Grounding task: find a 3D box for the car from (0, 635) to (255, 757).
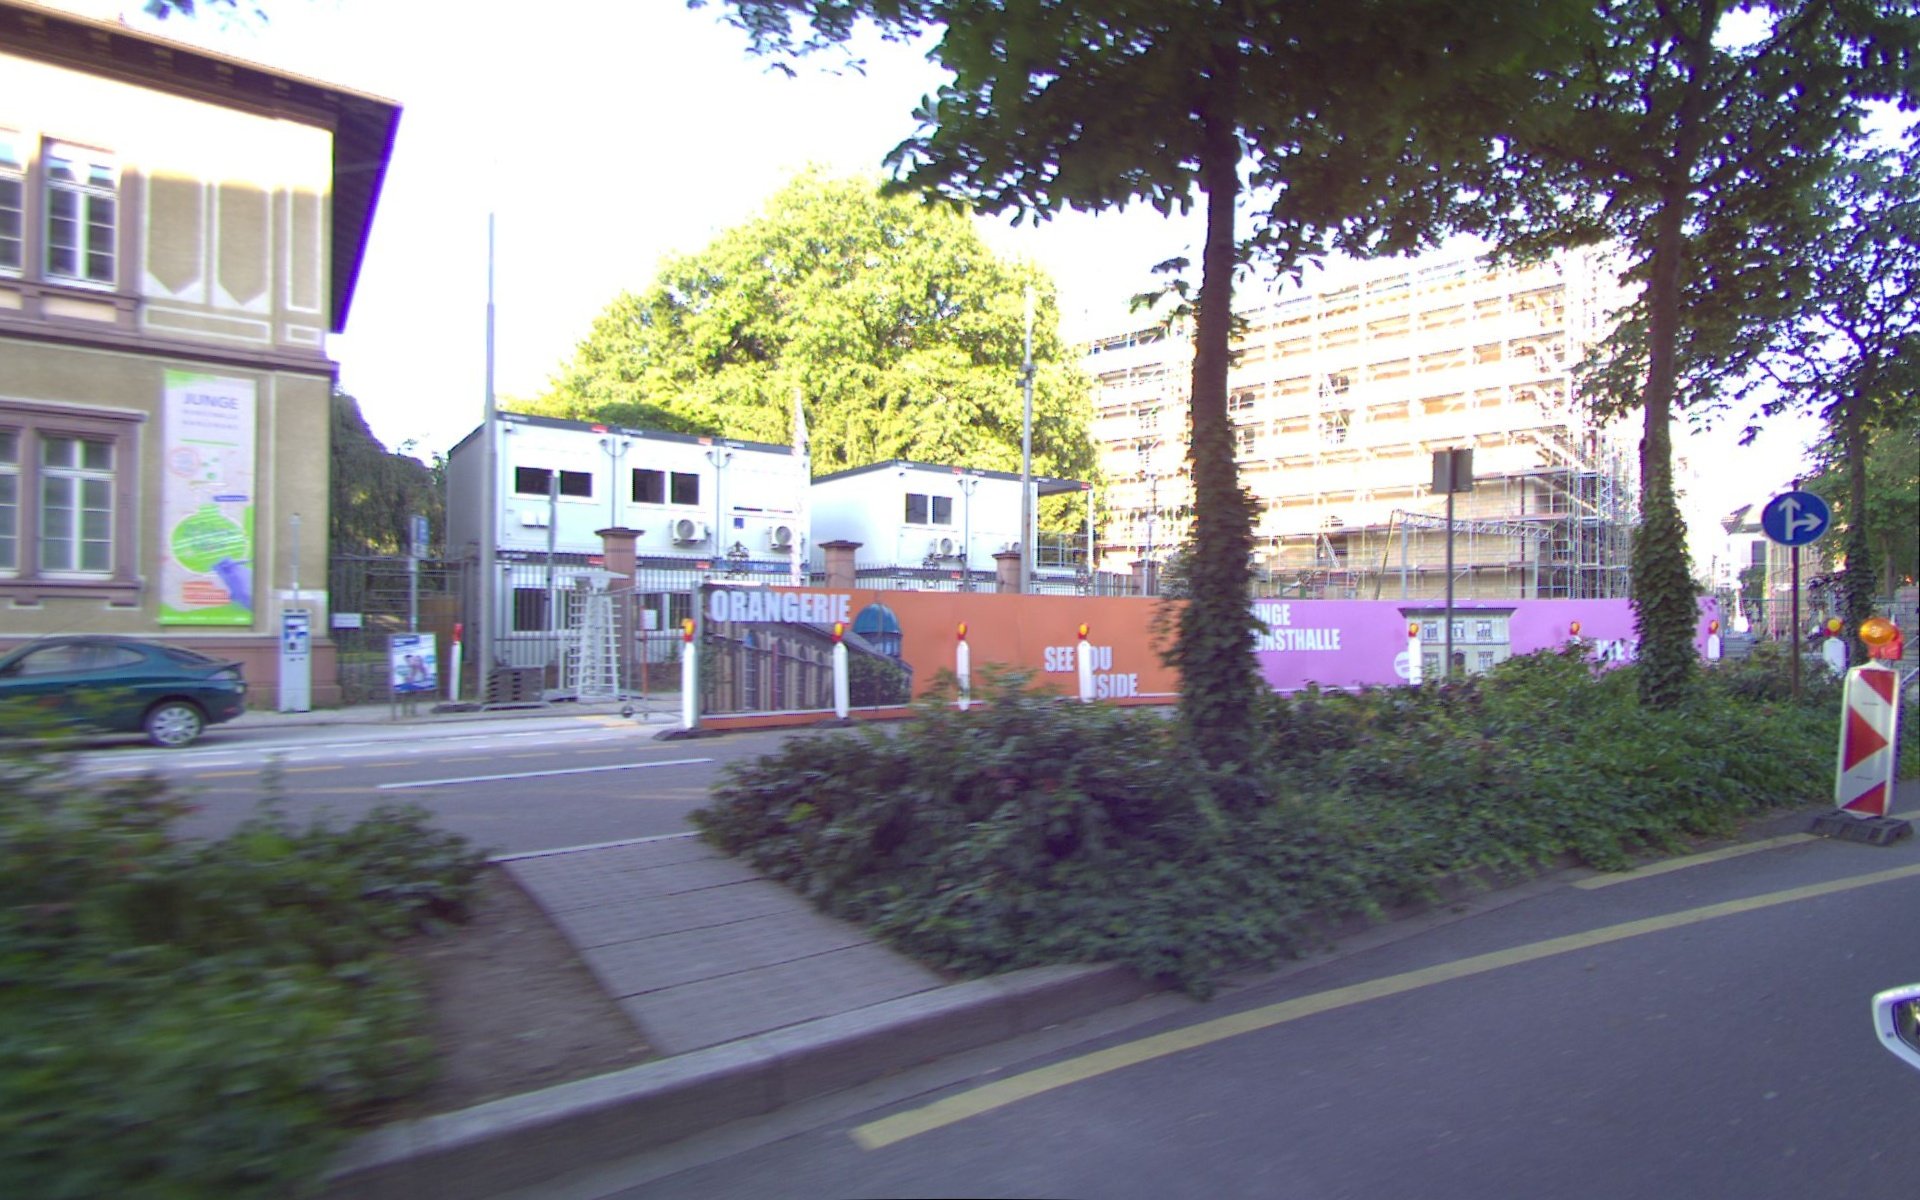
[{"bbox_3d":[-10.979,1.124,12.269,3.848,1.369,1.669,1,-3,-35],"label":"car"}]
